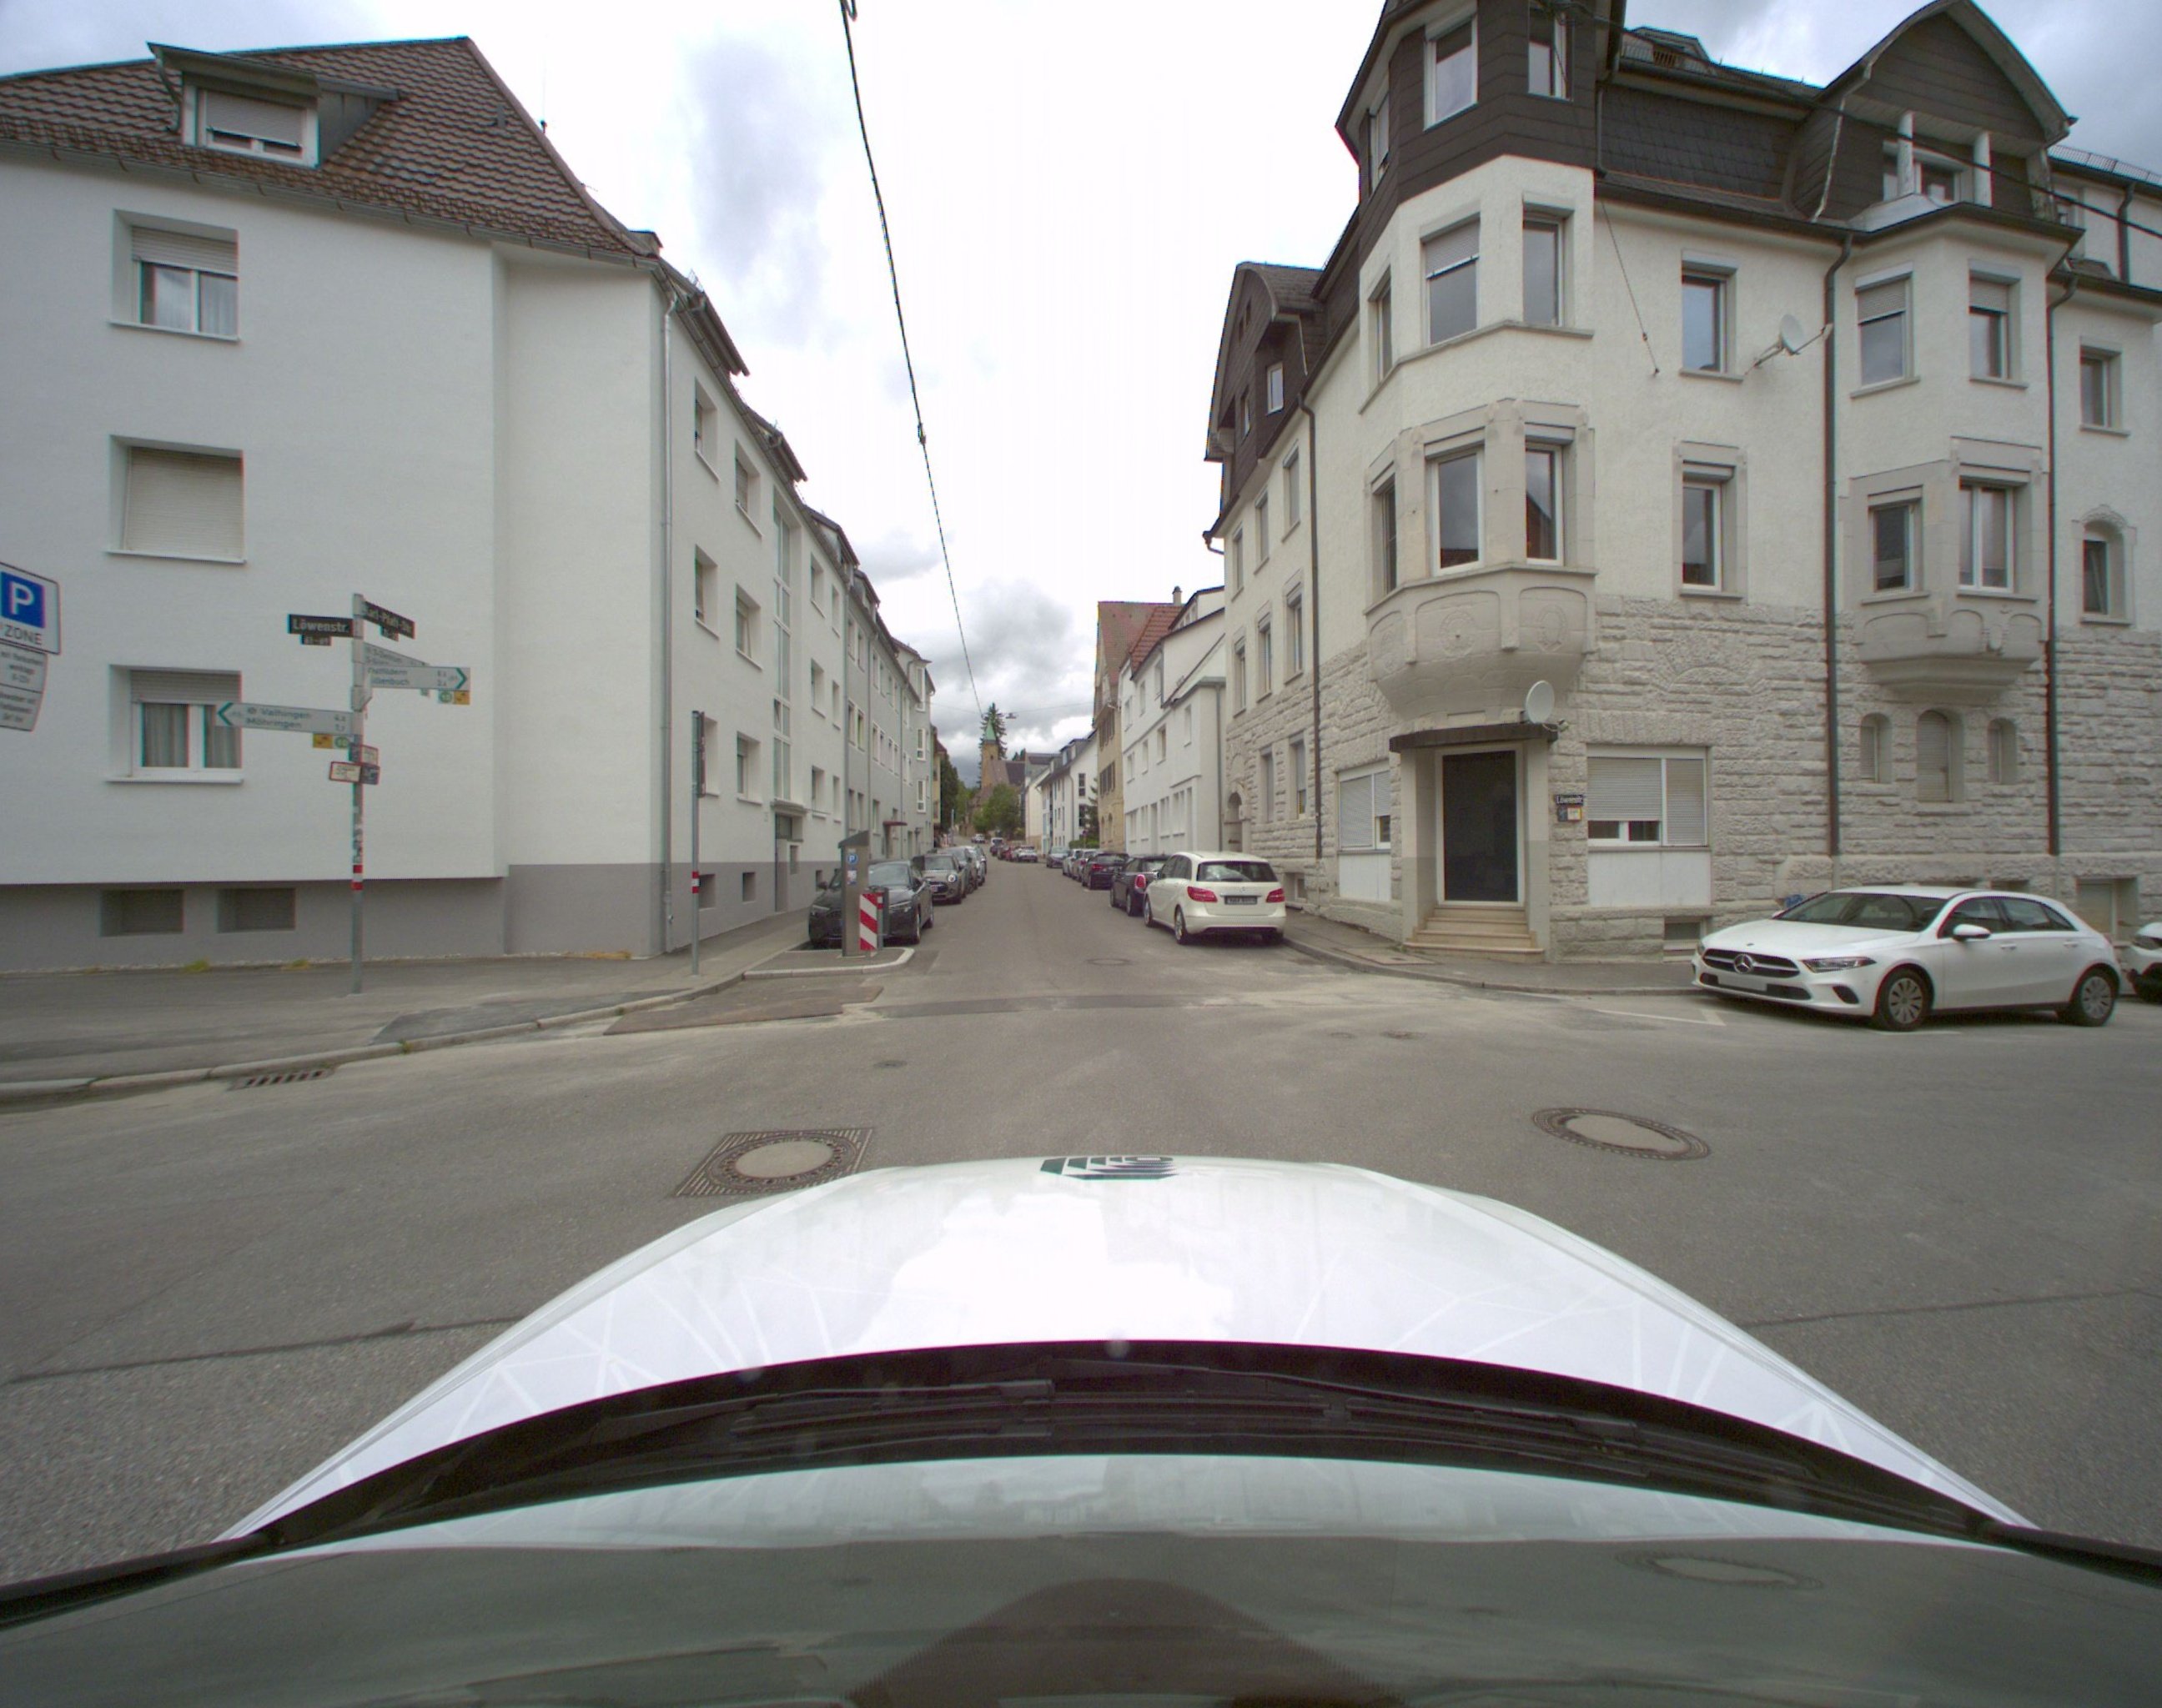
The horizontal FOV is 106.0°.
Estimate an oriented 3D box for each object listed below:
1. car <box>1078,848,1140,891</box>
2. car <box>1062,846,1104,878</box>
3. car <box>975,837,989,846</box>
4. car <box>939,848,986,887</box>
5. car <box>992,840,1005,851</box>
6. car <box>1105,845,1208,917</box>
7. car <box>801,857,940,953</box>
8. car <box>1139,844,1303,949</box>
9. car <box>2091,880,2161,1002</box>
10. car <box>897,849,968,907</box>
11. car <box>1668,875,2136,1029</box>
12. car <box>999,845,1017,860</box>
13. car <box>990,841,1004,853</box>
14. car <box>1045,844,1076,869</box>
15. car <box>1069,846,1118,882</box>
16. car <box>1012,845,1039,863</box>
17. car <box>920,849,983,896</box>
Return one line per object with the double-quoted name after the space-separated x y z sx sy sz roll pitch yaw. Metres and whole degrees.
0.973 0.529 30.225 1.666 1.385 4.017 1 1 -7 "car"
0.041 0.363 41.231 1.666 1.479 3.617 1 1 -7 "car"
-18.284 -2.345 149.902 2.184 1.693 3.611 0 1 -12 "car"
-4.851 0.525 33.730 1.728 1.448 3.711 -1 1 -6 "car"
-11.273 -1.228 111.338 1.666 1.479 3.617 0 1 -7 "car"
1.732 0.580 20.007 1.666 1.532 4.017 1 1 -7 "car"
-3.659 0.800 14.887 1.818 1.391 4.288 -1 1 -6 "car"
2.368 0.654 14.848 1.819 1.599 4.017 1 1 -7 "car"
15.691 1.145 10.422 4.231 1.516 1.843 1 -1 -13 "car"
-4.272 0.635 23.864 1.728 1.489 3.711 -1 1 -6 "car"
8.989 0.991 9.011 4.231 1.414 1.697 1 -1 -13 "car"
-7.478 -0.207 83.196 1.666 1.479 3.617 0 1 -7 "car"
-10.298 -0.879 99.768 1.666 1.479 3.617 0 1 -7 "car"
-1.394 0.145 54.142 1.666 1.479 3.617 1 1 -7 "car"
0.528 0.420 36.447 1.666 1.479 3.617 1 1 -7 "car"
-4.972 0.009 72.190 1.787 1.479 3.608 0 1 -14 "car"
-4.455 0.586 28.568 1.726 1.469 3.716 -1 1 -2 "car"
